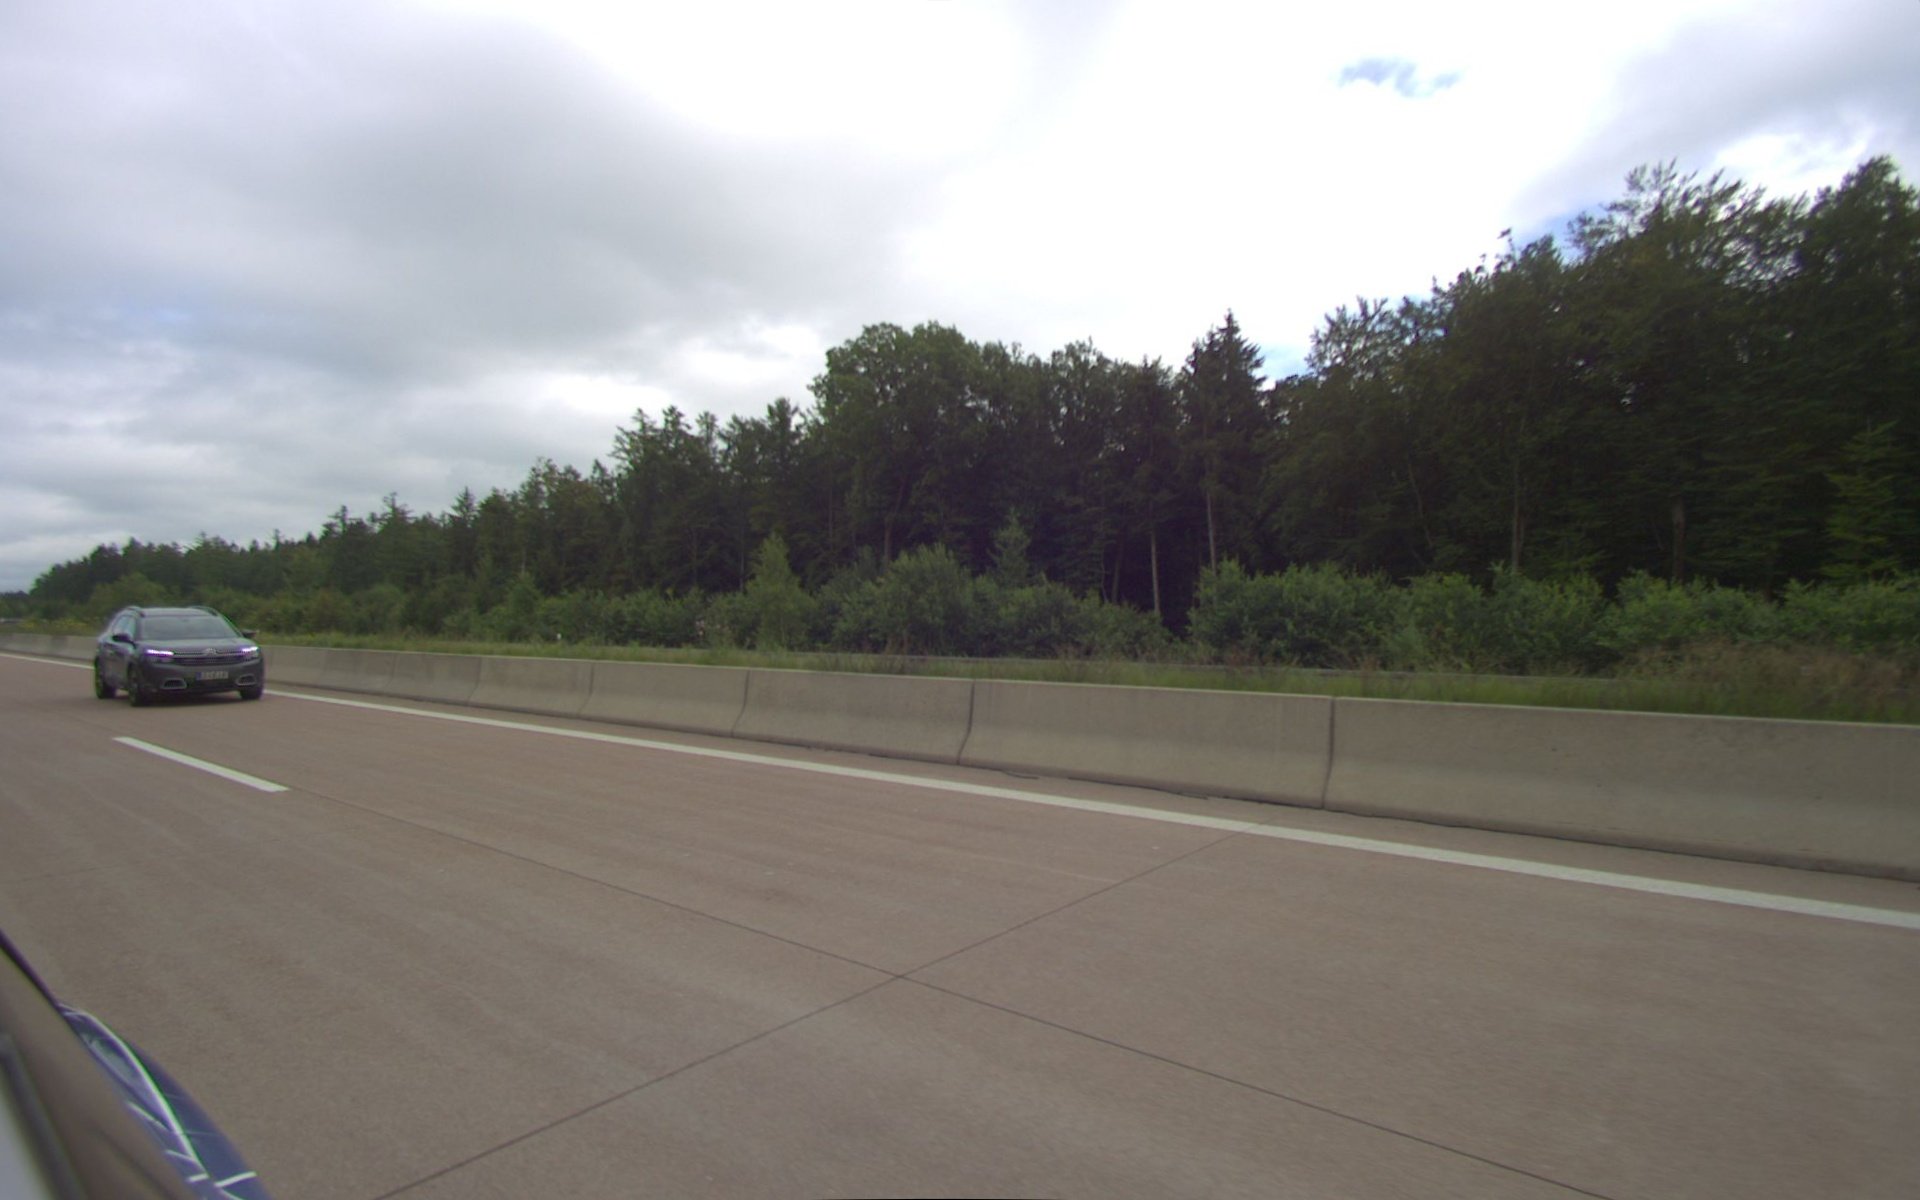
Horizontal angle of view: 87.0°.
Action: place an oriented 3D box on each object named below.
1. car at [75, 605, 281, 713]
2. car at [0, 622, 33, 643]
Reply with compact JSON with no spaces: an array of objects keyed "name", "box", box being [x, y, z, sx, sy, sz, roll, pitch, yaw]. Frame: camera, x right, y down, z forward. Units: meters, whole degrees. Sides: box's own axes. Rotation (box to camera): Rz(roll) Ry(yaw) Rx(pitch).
[{"name":"car","box":[-14.467,0.980,18.593,5.249,1.711,1.973,-1,-1,40]},{"name":"car","box":[-97.278,3.284,103.942,6.373,2.029,2.200,-1,0,40]}]
